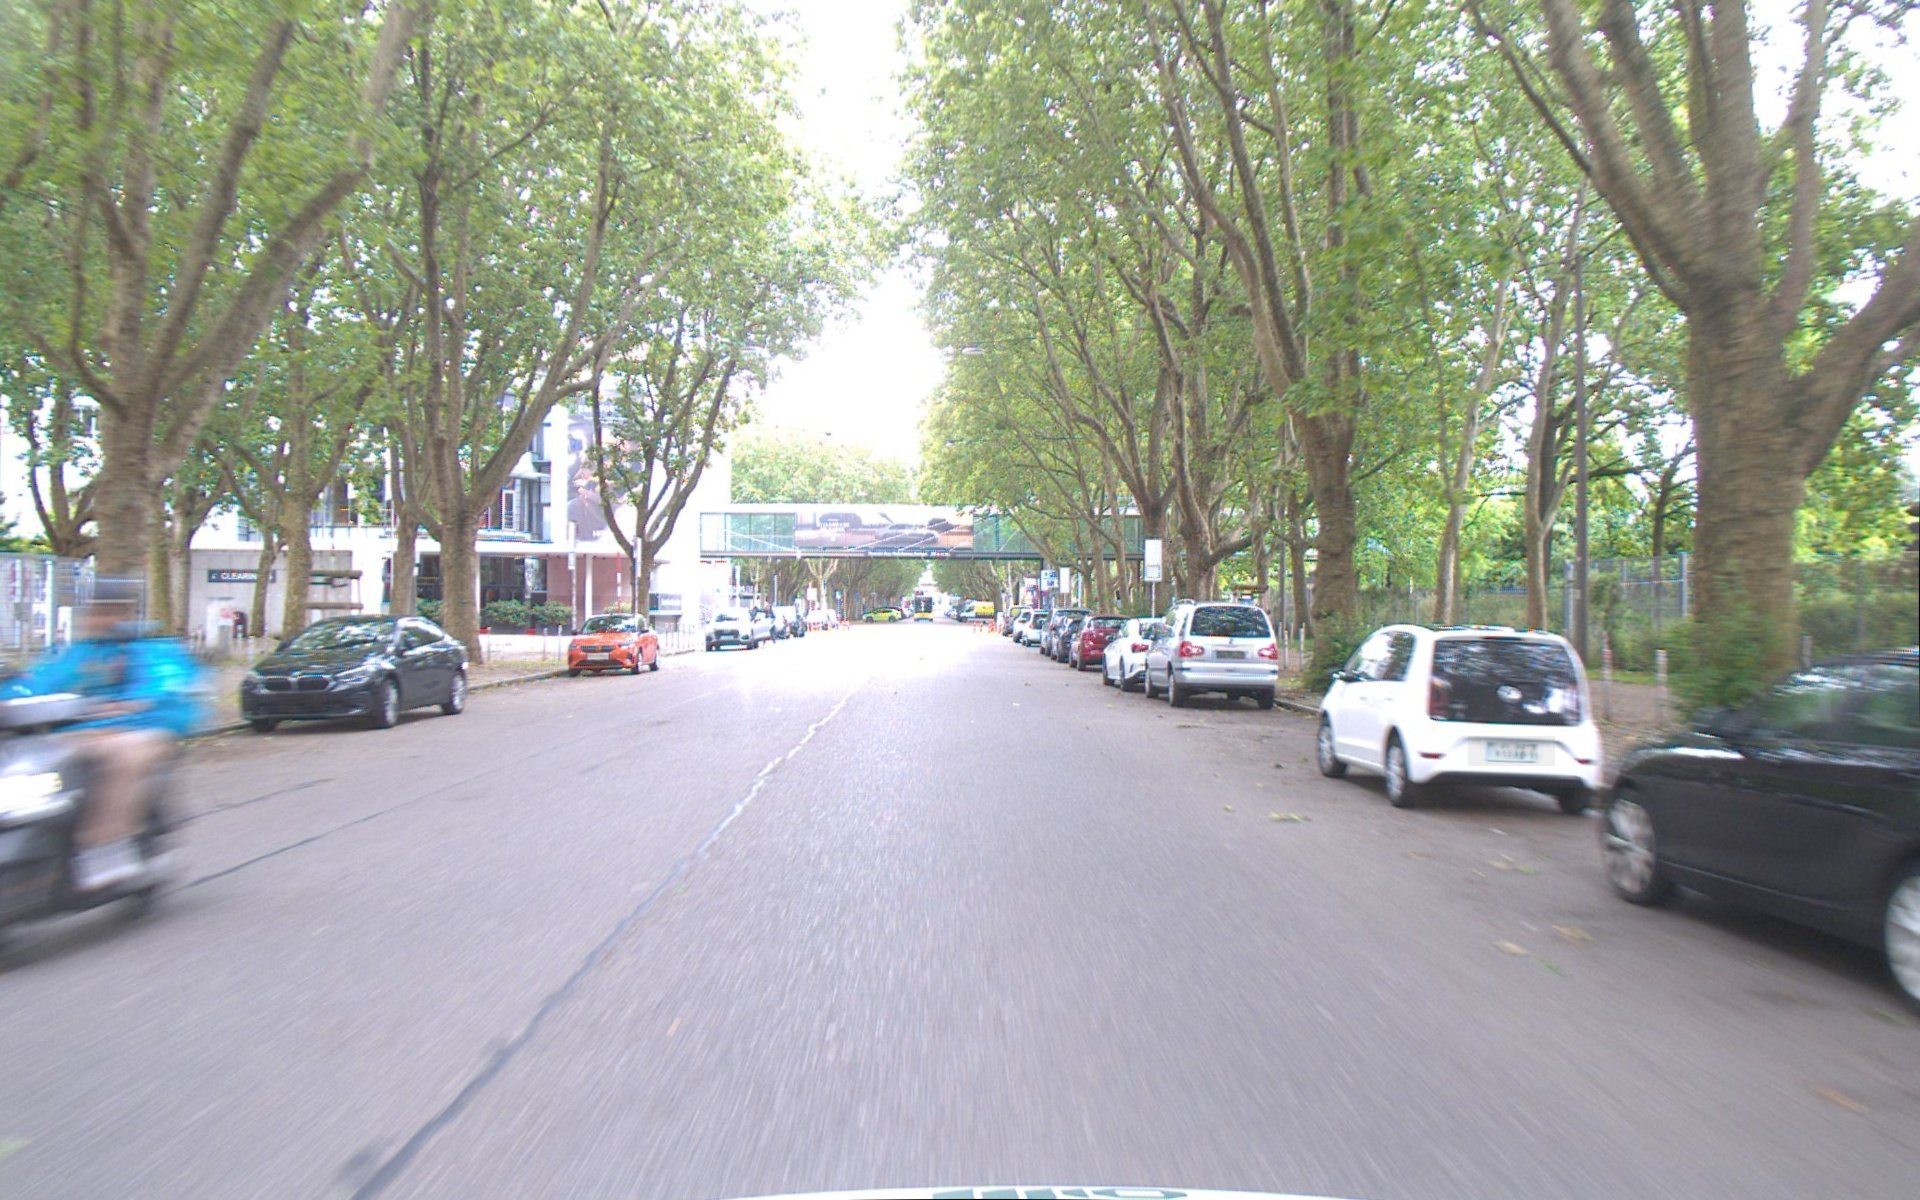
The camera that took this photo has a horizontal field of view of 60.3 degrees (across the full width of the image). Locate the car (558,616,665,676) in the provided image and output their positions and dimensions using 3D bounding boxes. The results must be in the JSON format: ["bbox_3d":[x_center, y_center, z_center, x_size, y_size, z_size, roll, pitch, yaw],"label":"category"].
[{"bbox_3d":[-8.405,1.084,40.202,1.771,1.378,3.999,0,0,-1],"label":"car"}]

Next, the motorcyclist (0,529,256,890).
[{"bbox_3d":[-3.883,0.462,7.549,0.853,1.506,1.264,0,-1,-4],"label":"motorcyclist"}]

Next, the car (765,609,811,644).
[{"bbox_3d":[-9.639,1.460,92.948,1.993,1.820,4.907,-3,0,-1],"label":"car"}]

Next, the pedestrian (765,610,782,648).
[{"bbox_3d":[-7.398,1.162,65.694,0.571,1.492,0.567,1,-1,3],"label":"pedestrian"}]

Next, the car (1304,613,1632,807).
[{"bbox_3d":[4.345,0.866,14.766,1.673,1.452,3.888,2,0,-1],"label":"car"}]

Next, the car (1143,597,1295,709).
[{"bbox_3d":[4.374,0.866,28.591,1.864,1.769,4.505,1,-1,-1],"label":"car"}]

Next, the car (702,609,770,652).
[{"bbox_3d":[-8.701,1.157,64.690,2.031,1.590,4.755,0,0,-1],"label":"car"}]

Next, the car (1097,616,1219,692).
[{"bbox_3d":[3.994,1.057,34.030,1.839,1.452,4.584,0,-1,-2],"label":"car"}]

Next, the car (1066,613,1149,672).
[{"bbox_3d":[3.987,1.133,45.275,1.819,1.507,4.176,0,-1,-1],"label":"car"}]

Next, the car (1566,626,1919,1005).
[{"bbox_3d":[4.535,0.878,7.645,1.673,1.440,4.358,1,0,-3],"label":"car"}]

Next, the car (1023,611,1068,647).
[{"bbox_3d":[3.776,1.285,73.486,1.771,1.553,4.095,0,-1,-1],"label":"car"}]

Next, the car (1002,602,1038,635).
[{"bbox_3d":[3.524,1.099,97.883,1.810,1.814,5.210,1,-1,-1],"label":"car"}]

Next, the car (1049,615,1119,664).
[{"bbox_3d":[3.847,1.210,51.945,1.838,1.452,4.479,0,-1,0],"label":"car"}]

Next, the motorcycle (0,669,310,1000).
[{"bbox_3d":[-3.896,0.920,7.542,0.856,1.098,3.050,0,0,-4],"label":"motorcycle"}]

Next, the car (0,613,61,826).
[{"bbox_3d":[-7.926,0.879,10.815,1.840,1.553,4.150,-1,0,-1],"label":"car"}]

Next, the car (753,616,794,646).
[{"bbox_3d":[-9.862,1.634,87.652,1.670,1.444,4.324,-2,0,-1],"label":"car"}]

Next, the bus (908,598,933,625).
[{"bbox_3d":[-5.087,1.501,212.498,2.977,3.215,12.672,-2,-1,-1],"label":"bus"}]

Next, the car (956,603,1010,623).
[{"bbox_3d":[2.837,1.639,208.065,6.687,2.557,2.315,0,0,-3],"label":"car"}]

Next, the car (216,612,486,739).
[{"bbox_3d":[-7.984,0.928,22.190,1.789,1.491,4.628,-1,-1,1],"label":"car"}]

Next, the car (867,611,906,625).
[{"bbox_3d":[-8.788,2.131,197.856,4.604,1.612,1.864,0,-1,0],"label":"car"}]

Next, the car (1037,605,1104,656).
[{"bbox_3d":[3.899,1.080,58.847,1.941,1.710,4.729,0,-1,-2],"label":"car"}]

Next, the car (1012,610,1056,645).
[{"bbox_3d":[3.607,1.337,81.427,1.875,1.646,4.748,0,-1,-1],"label":"car"}]

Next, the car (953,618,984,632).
[{"bbox_3d":[1.083,3.212,215.464,3.906,1.825,1.542,0,-1,-2],"label":"car"}]

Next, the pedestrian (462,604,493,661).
[{"bbox_3d":[-14.030,0.942,48.113,0.580,1.648,0.792,0,-1,8],"label":"pedestrian"}]
